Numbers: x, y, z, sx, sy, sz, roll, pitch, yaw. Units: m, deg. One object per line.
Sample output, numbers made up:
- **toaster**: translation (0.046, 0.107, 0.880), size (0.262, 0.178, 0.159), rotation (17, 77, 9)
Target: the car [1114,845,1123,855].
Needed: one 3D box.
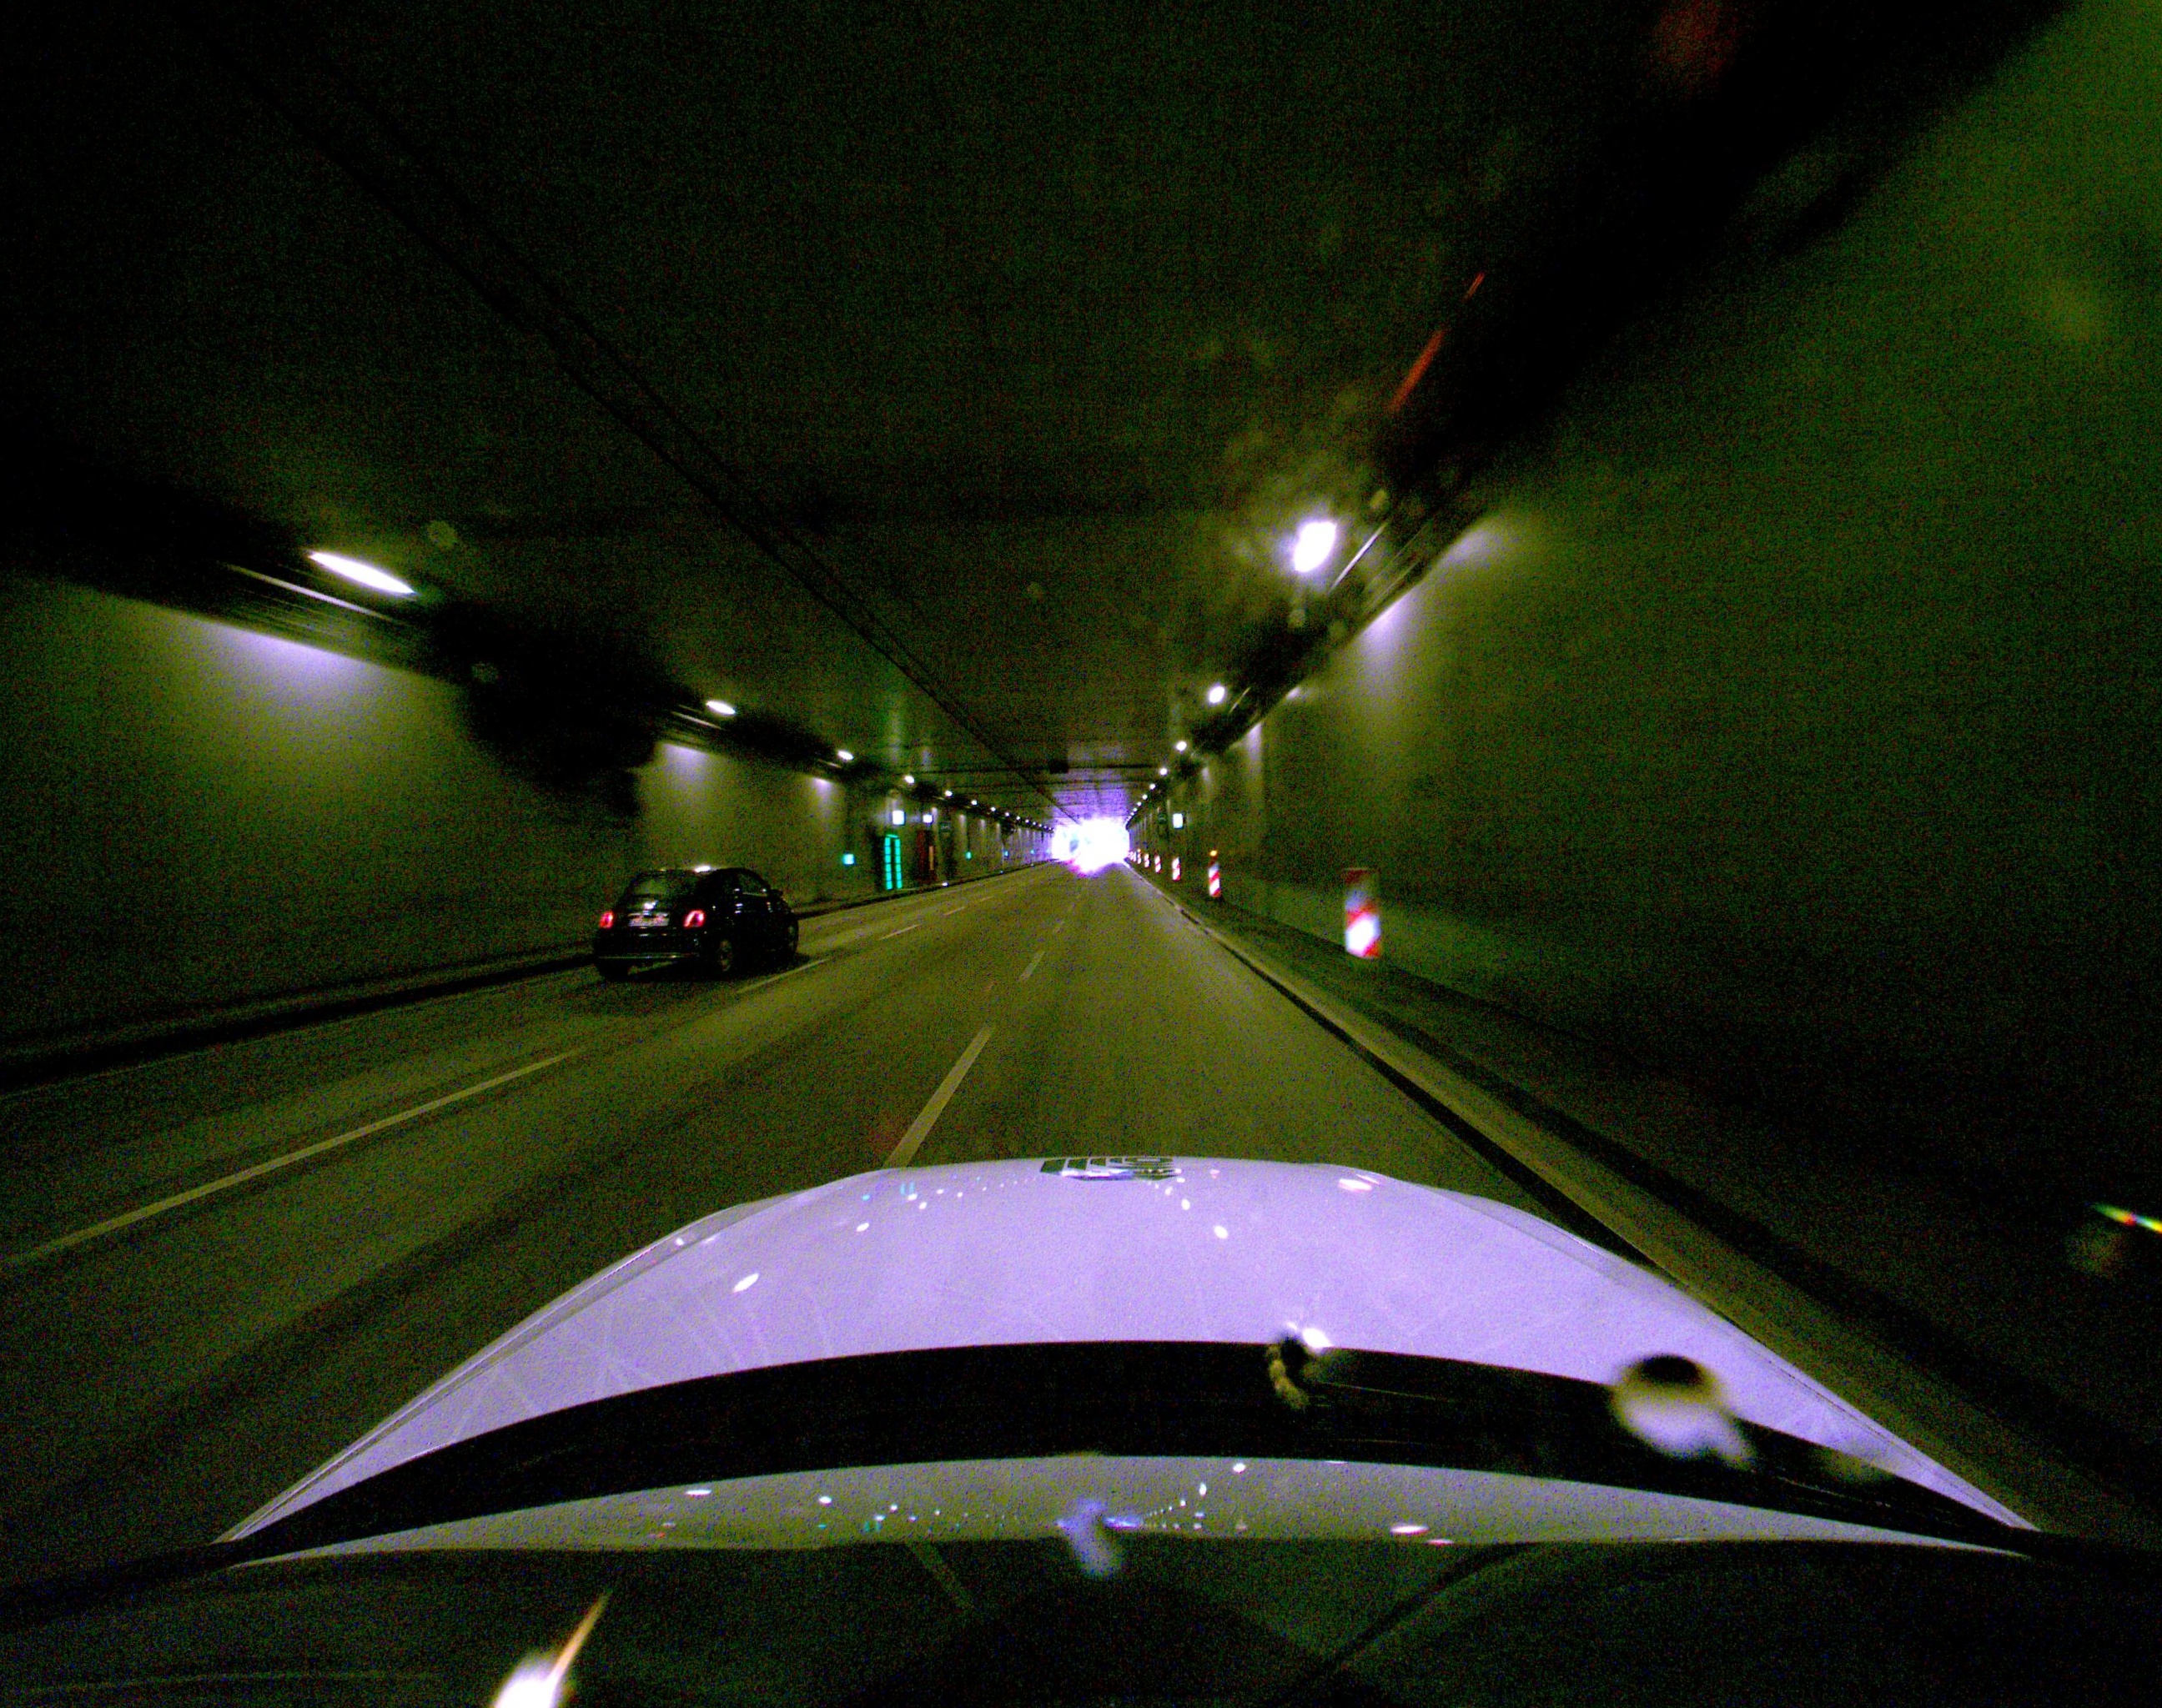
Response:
- **car**: translation (8.414, -0.911, 183.499), size (1.986, 2.014, 4.002), rotation (-2, -1, 2)

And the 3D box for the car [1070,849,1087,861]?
- **car**: translation (-0.368, 0.090, 99.466), size (1.988, 1.448, 4.311), rotation (-1, 0, -2)

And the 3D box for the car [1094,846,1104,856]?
- **car**: translation (3.729, -0.648, 169.241), size (1.986, 2.014, 4.002), rotation (-2, -1, 2)

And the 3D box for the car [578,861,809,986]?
- **car**: translation (-5.378, 0.875, 11.845), size (1.607, 1.454, 3.572), rotation (-1, 0, 0)
